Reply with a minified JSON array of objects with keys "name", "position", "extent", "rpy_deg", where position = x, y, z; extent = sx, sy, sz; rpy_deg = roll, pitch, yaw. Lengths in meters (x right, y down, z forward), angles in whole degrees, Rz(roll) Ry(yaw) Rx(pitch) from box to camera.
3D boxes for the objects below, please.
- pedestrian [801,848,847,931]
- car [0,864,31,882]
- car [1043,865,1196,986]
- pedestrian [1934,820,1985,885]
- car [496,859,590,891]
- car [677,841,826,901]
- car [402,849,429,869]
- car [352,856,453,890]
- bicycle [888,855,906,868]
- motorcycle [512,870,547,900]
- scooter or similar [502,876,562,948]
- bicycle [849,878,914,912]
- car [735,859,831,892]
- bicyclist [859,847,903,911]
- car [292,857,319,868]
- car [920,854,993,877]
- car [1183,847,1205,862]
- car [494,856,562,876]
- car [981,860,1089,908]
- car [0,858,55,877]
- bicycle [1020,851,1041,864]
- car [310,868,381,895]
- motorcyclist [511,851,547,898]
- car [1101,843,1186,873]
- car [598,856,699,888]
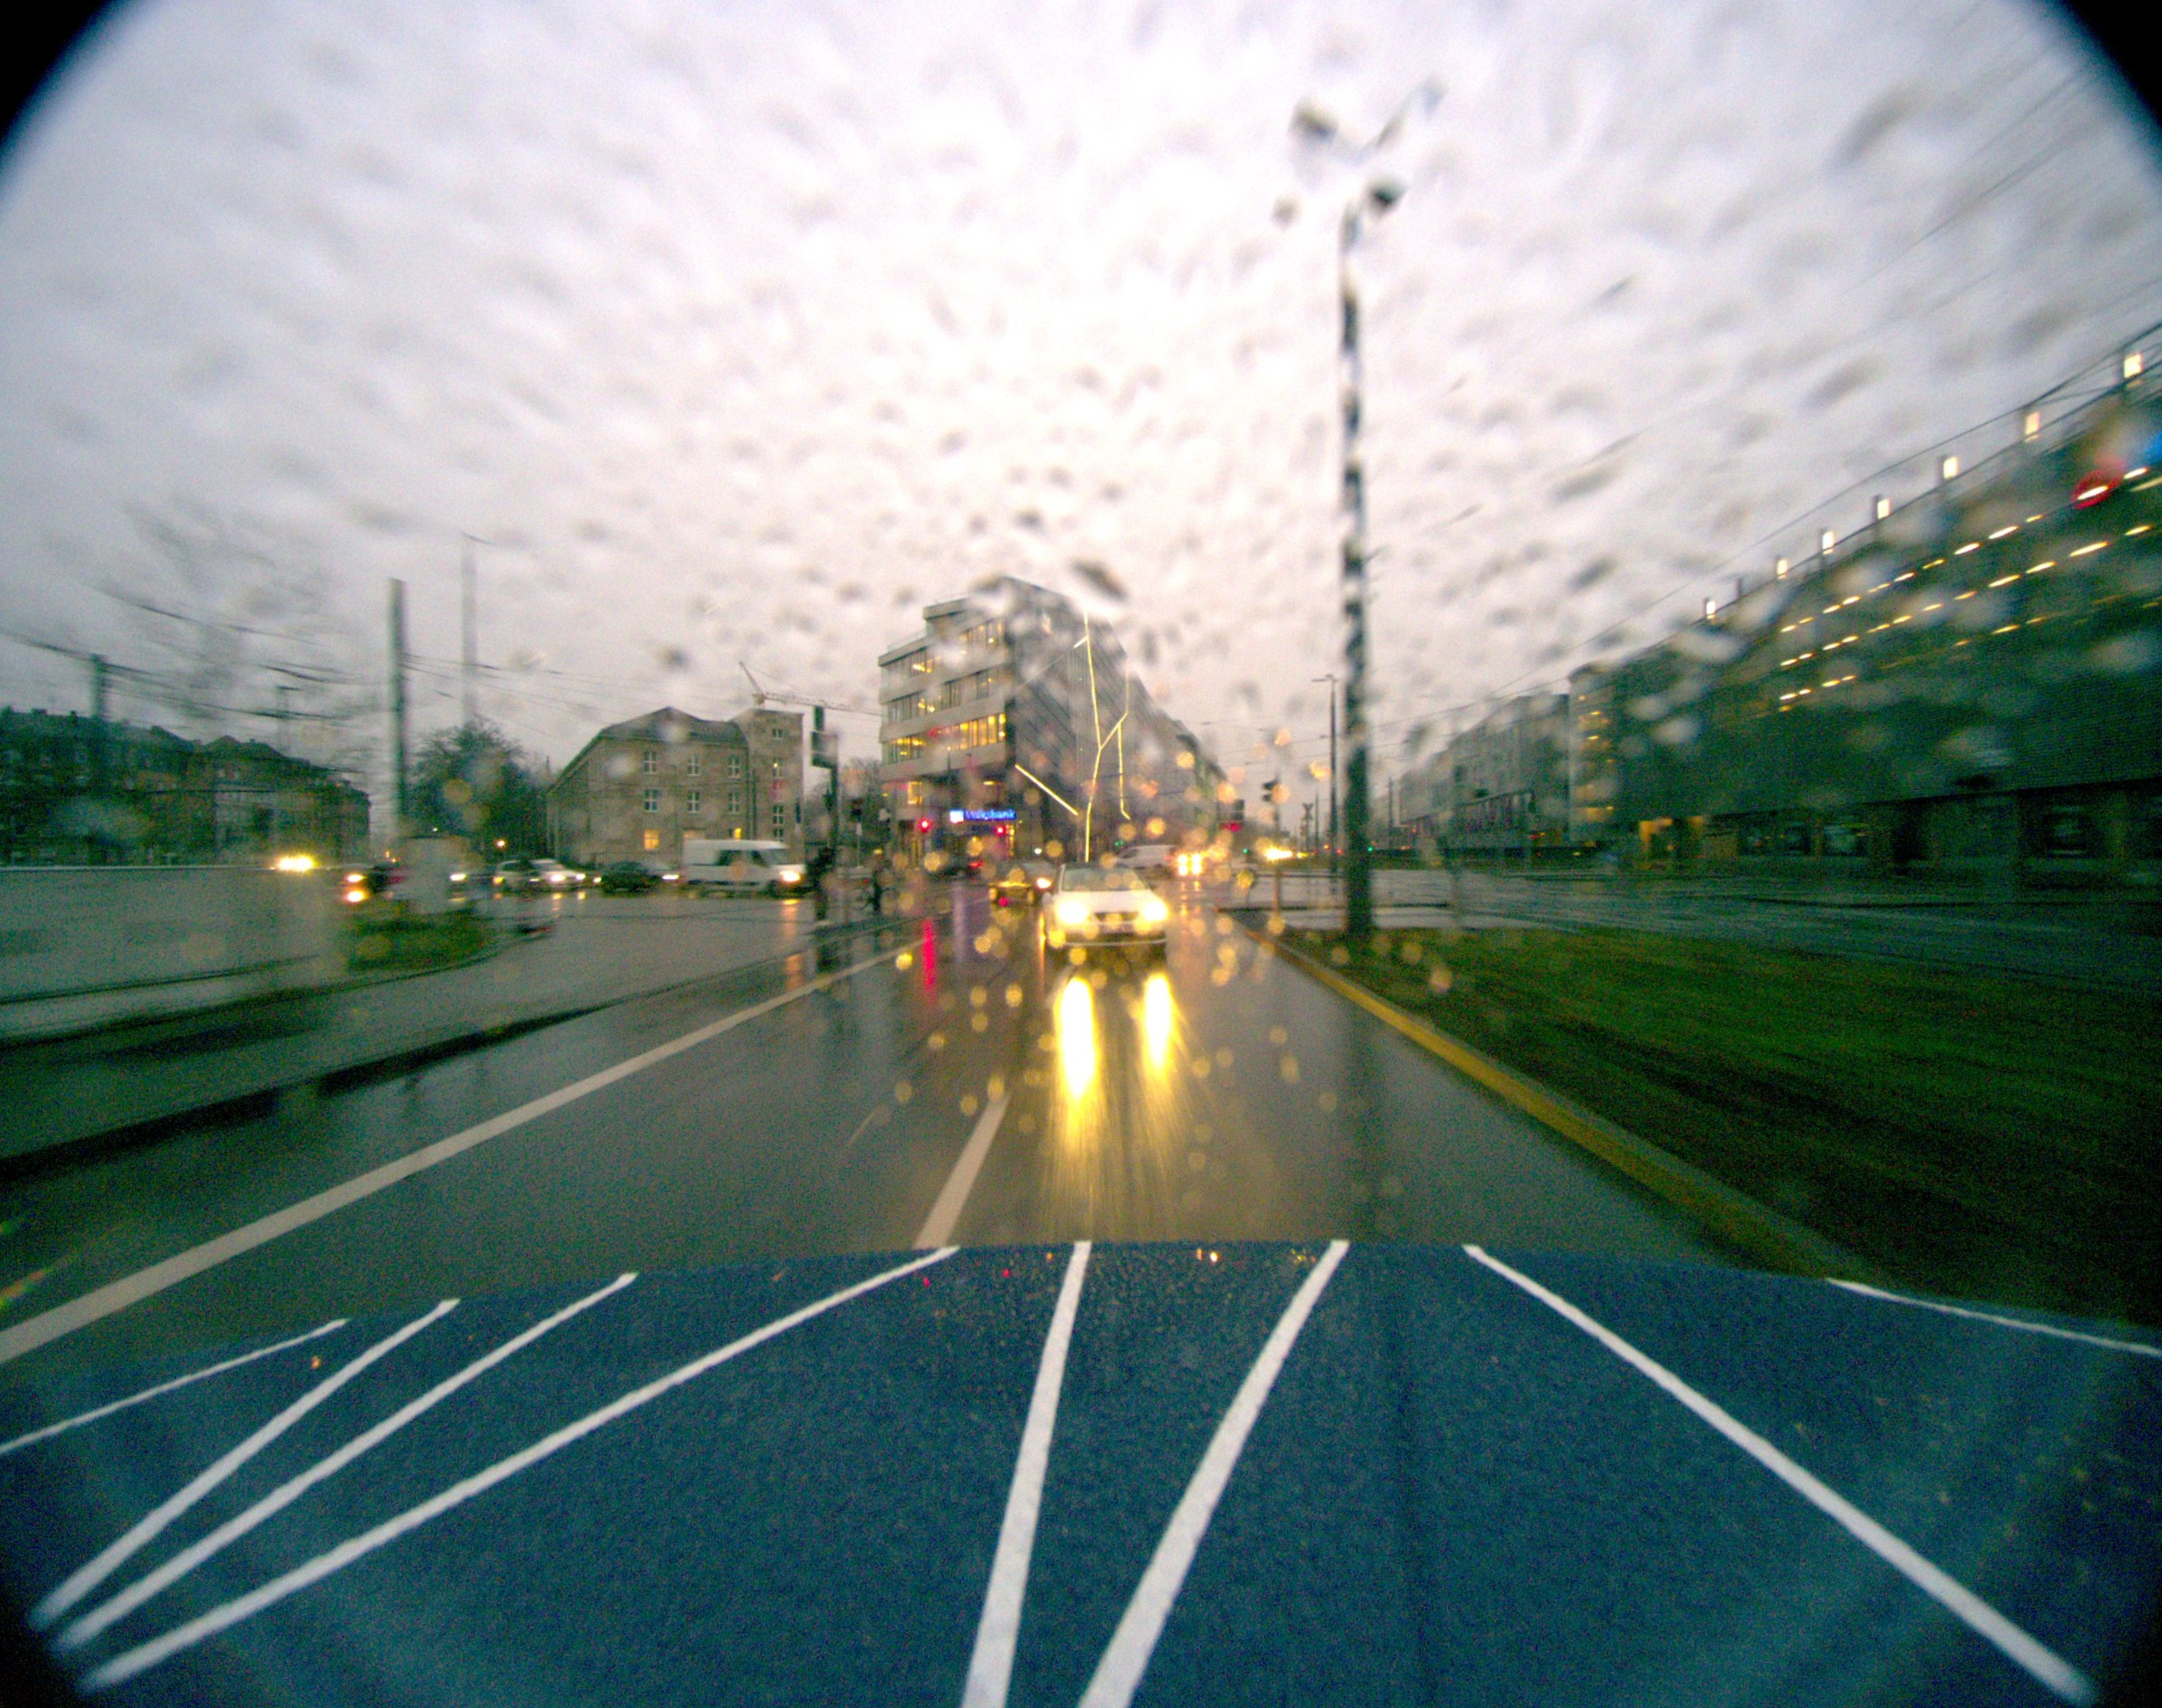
[{"name":"pedestrian","position":[-5.946,0.804,17.599],"extent":[0.633,1.867,0.777],"rpy_deg":[0,1,44]},{"name":"car","position":[-91.059,1.600,63.786],"extent":[1.424,1.420,3.193],"rpy_deg":[0,1,29]},{"name":"car","position":[0.404,0.961,12.016],"extent":[1.788,1.371,4.220],"rpy_deg":[-2,1,-5]},{"name":"pedestrian","position":[40.378,-0.087,34.934],"extent":[1.111,2.909,0.967],"rpy_deg":[0,3,16]},{"name":"car","position":[-28.274,1.081,39.948],"extent":[4.214,1.590,1.678],"rpy_deg":[0,1,15]},{"name":"car","position":[-14.293,0.710,33.095],"extent":[5.659,2.449,2.245],"rpy_deg":[0,2,13]},{"name":"car","position":[-68.194,0.482,77.785],"extent":[1.908,1.861,4.948],"rpy_deg":[-3,2,-42]},{"name":"car","position":[-33.601,0.922,37.660],"extent":[3.998,1.590,1.905],"rpy_deg":[0,1,16]},{"name":"bicycle","position":[-16.740,0.647,69.056],"extent":[1.500,1.121,0.527],"rpy_deg":[-1,1,-37]},{"name":"motorcycle","position":[-22.550,1.239,31.046],"extent":[2.402,1.176,0.485],"rpy_deg":[0,1,38]},{"name":"scooter or similar","position":[-9.953,1.016,13.816],"extent":[0.334,1.199,1.307],"rpy_deg":[-1,1,-11]},{"name":"bicycle","position":[-6.029,1.225,22.975],"extent":[1.862,0.968,0.658],"rpy_deg":[0,1,23]},{"name":"car","position":[-14.305,1.028,36.552],"extent":[3.911,1.455,1.765],"rpy_deg":[0,2,11]},{"name":"bicyclist","position":[-6.068,0.746,23.054],"extent":[0.987,1.879,0.794],"rpy_deg":[0,1,23]},{"name":"car","position":[-93.846,1.010,91.959],"extent":[1.756,1.362,3.604],"rpy_deg":[-1,1,-37]},{"name":"car","position":[-8.088,0.771,49.516],"extent":[4.414,1.436,1.631],"rpy_deg":[0,1,19]},{"name":"car","position":[12.547,0.018,84.089],"extent":[1.830,1.652,4.004],"rpy_deg":[-1,1,16]},{"name":"car","position":[-42.905,0.913,59.006],"extent":[4.333,1.477,1.868],"rpy_deg":[0,1,14]},{"name":"car","position":[-1.606,0.940,25.598],"extent":[1.728,1.380,3.811],"rpy_deg":[-2,2,-39]},{"name":"car","position":[-92.874,1.193,66.684],"extent":[1.424,1.615,3.193],"rpy_deg":[0,1,29]},{"name":"bicycle","position":[-4.248,0.312,64.139],"extent":[1.598,1.064,0.643],"rpy_deg":[-1,1,16]},{"name":"car","position":[-42.708,1.576,44.102],"extent":[4.159,1.466,1.881],"rpy_deg":[-1,1,30]},{"name":"motorcyclist","position":[-22.512,0.818,30.978],"extent":[0.919,1.871,0.888],"rpy_deg":[0,1,35]},{"name":"car","position":[3.709,0.254,45.293],"extent":[4.598,1.709,1.933],"rpy_deg":[0,1,28]},{"name":"car","position":[-21.723,0.898,38.228],"extent":[4.353,1.561,1.829],"rpy_deg":[0,1,15]}]
